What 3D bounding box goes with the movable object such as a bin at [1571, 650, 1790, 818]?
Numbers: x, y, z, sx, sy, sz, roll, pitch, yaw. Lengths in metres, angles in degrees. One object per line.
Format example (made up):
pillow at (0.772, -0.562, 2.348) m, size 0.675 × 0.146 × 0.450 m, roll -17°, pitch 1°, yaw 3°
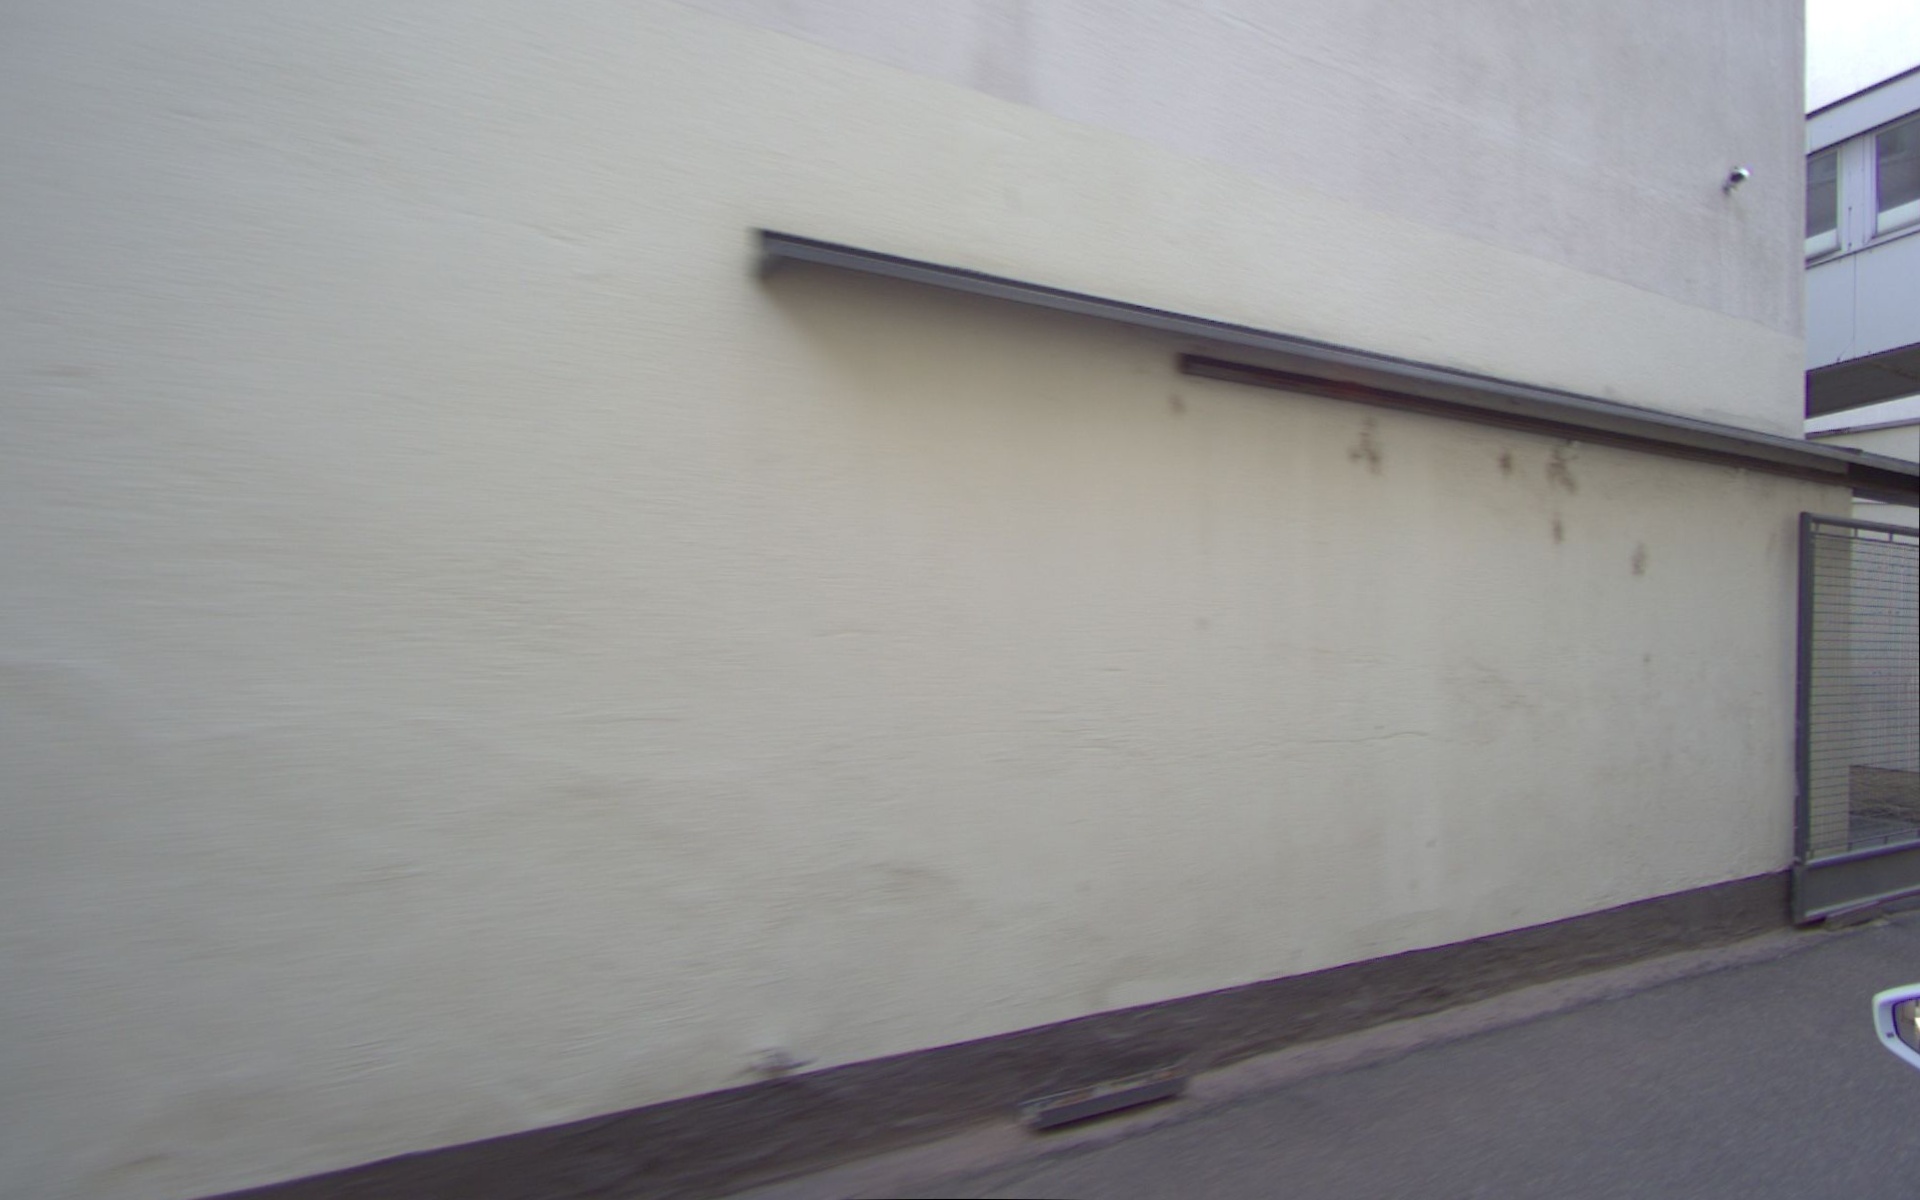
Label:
movable object such as a bin at (7.164, 1.265, 10.016) m, size 1.568 × 1.443 × 1.177 m, roll 0°, pitch 0°, yaw -26°
